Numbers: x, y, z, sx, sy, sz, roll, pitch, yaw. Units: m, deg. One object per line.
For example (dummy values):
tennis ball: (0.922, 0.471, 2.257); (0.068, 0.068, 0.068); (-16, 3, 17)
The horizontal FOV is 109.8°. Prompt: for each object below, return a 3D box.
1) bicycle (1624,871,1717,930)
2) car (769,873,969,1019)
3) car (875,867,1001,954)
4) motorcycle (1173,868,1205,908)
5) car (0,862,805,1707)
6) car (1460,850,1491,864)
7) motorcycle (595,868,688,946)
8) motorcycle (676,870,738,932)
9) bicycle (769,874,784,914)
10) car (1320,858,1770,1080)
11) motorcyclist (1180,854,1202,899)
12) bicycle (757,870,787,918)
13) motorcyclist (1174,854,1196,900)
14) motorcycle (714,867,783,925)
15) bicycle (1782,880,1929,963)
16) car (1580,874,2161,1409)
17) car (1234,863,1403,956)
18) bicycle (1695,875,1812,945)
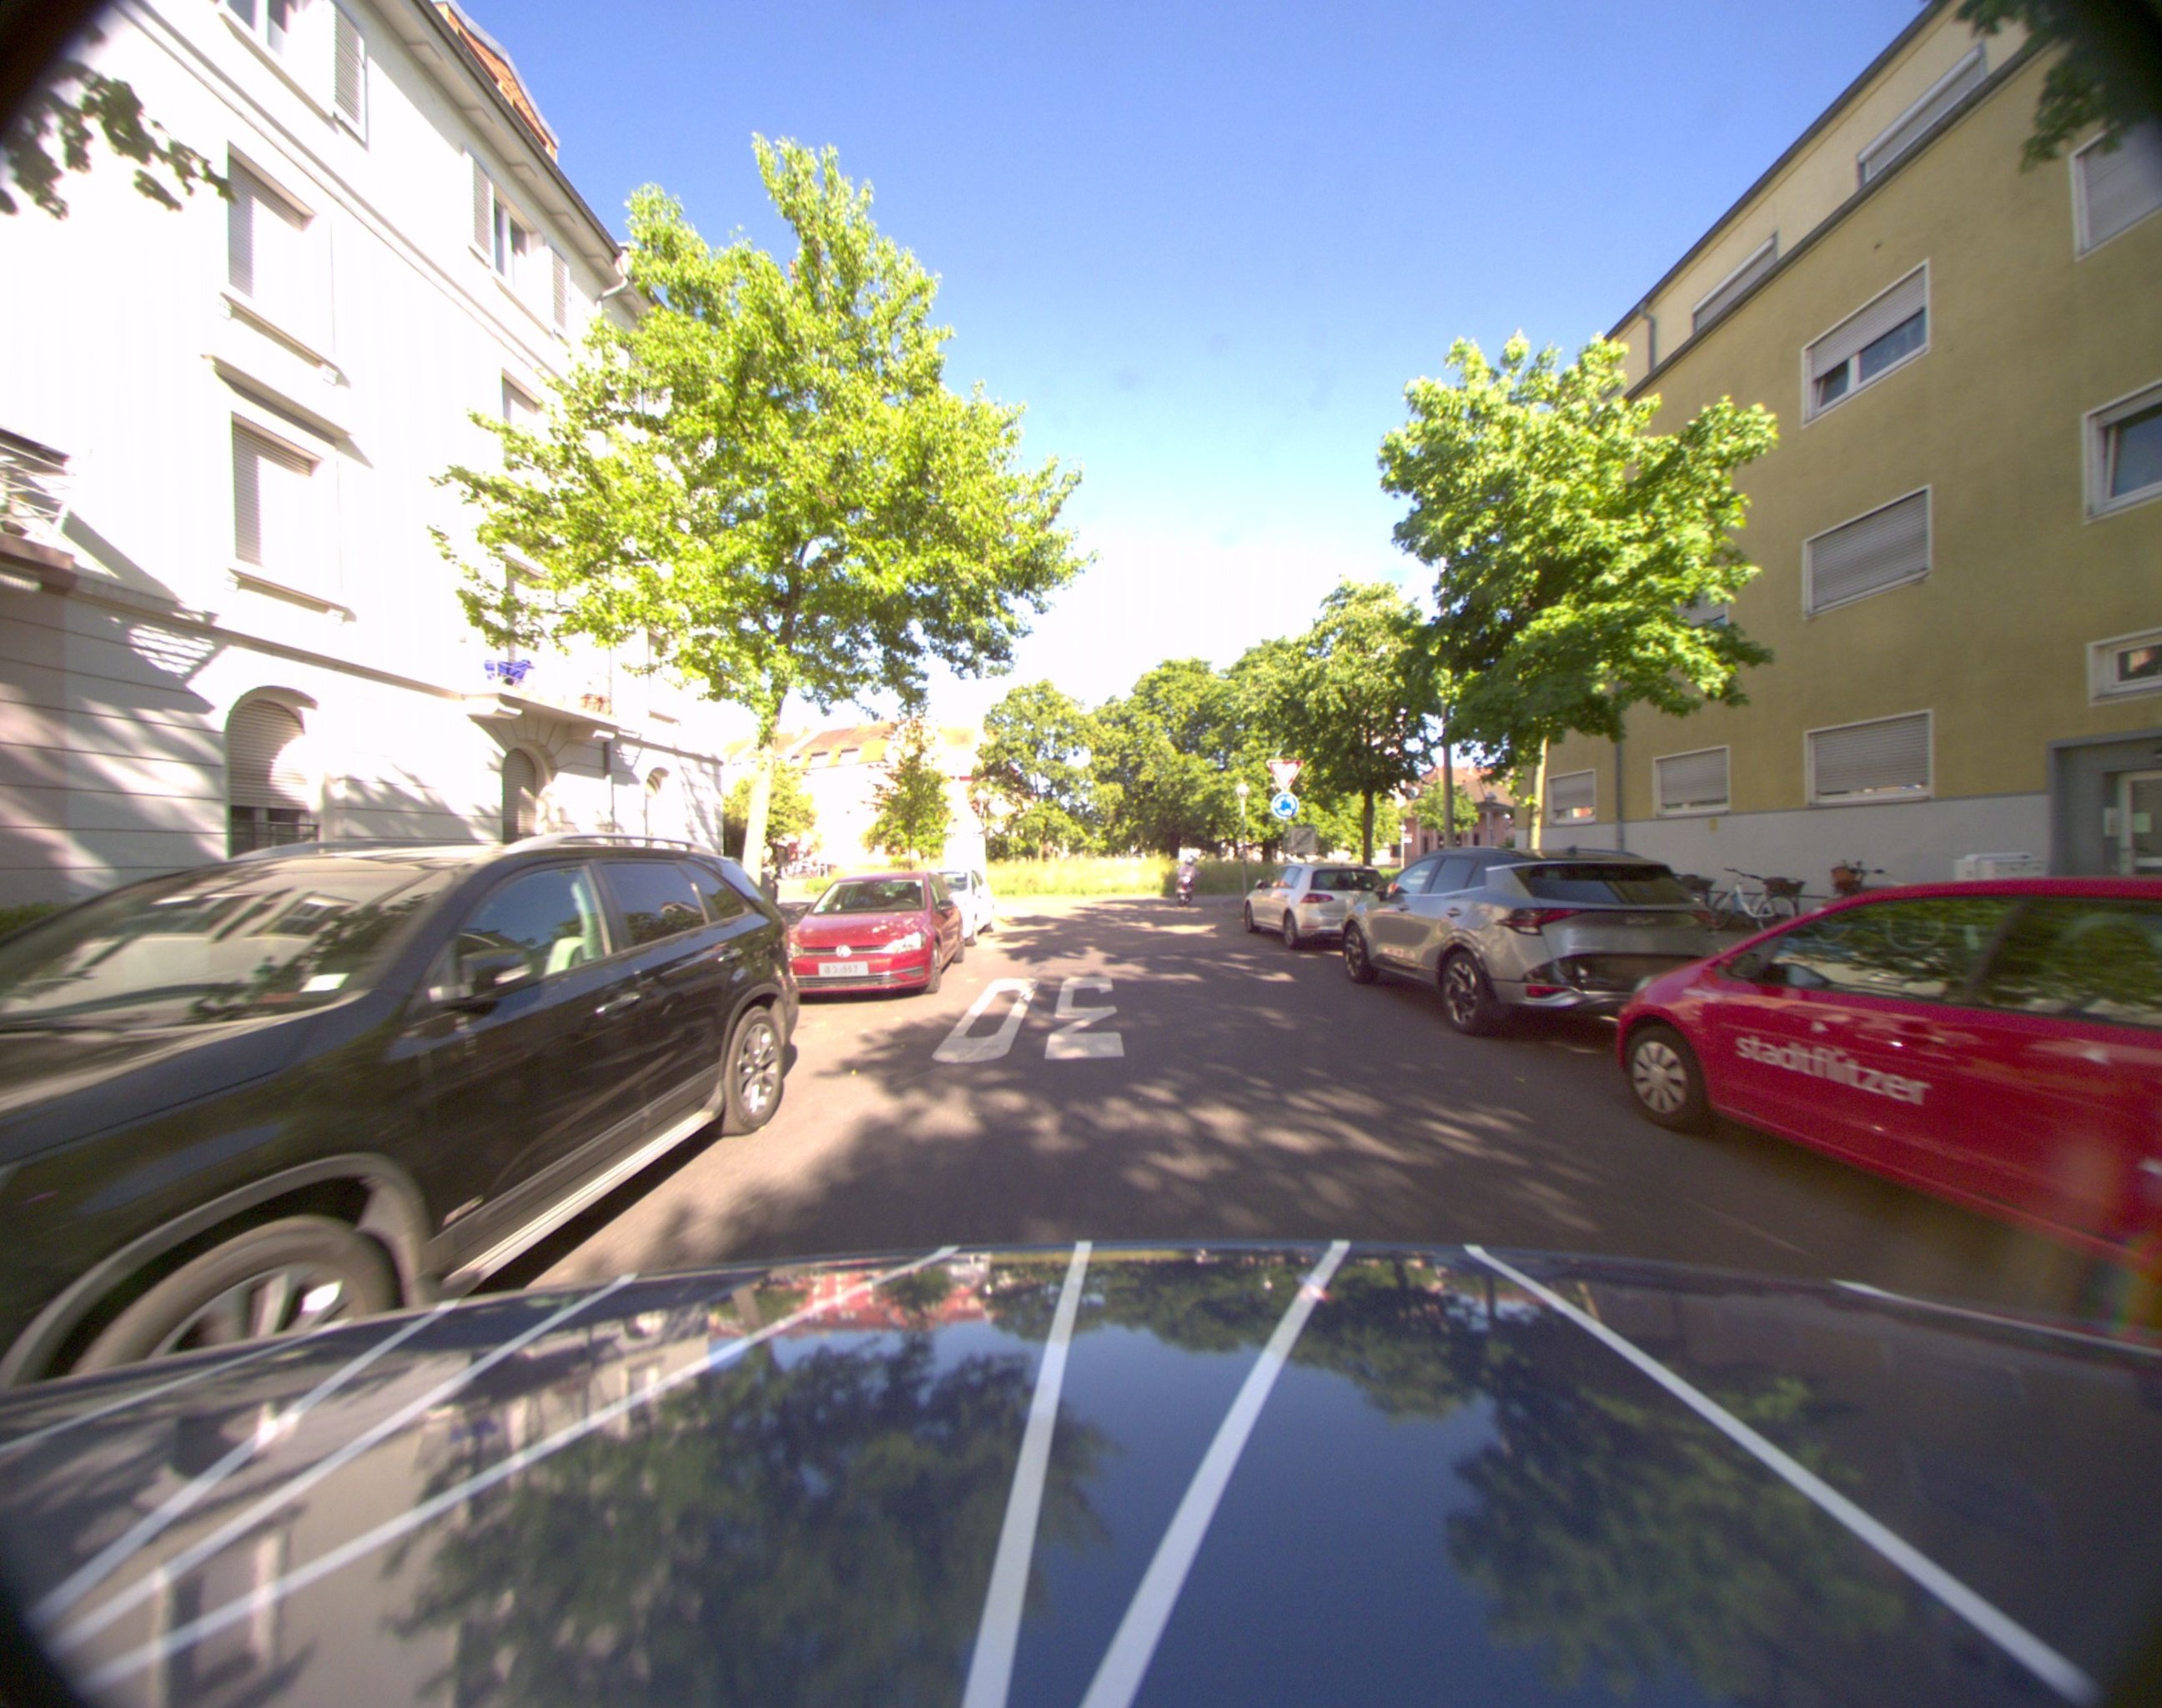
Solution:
bicycle: (10.777, 0.822, 13.962); (0.435, 0.995, 1.682); (-1, 0, 1)
car: (-2.529, 1.008, 10.117); (1.615, 1.401, 4.350); (-1, 0, -3)
car: (-2.641, 0.991, 14.958); (1.657, 1.394, 4.135); (-1, 0, 0)
motorcycle: (3.377, 1.049, 23.759); (0.553, 1.168, 1.635); (-1, 0, 24)
car: (-2.804, 0.900, 3.019); (1.785, 1.688, 4.297); (-1, 0, 1)
car: (35.254, 0.237, 67.993); (1.766, 1.171, 4.005); (-1, 0, 16)
motorcycle: (-8.444, 0.976, 14.706); (0.540, 1.353, 2.089); (-1, 0, 1)
motorcycle: (-8.363, 1.022, 17.067); (0.658, 1.272, 1.799); (1, 0, -6)
bicycle: (-9.078, 1.172, 22.695); (0.352, 1.097, 1.569); (-1, 1, -20)
car: (4.078, 0.837, 7.823); (1.696, 1.555, 4.735); (-1, 0, -1)
motorcyclist: (3.479, 0.711, 23.994); (0.553, 1.394, 0.520); (-1, 1, 23)
bicycle: (-8.584, 1.088, 21.150); (0.326, 1.231, 1.502); (-1, 1, -6)
motorcyclist: (3.213, 0.710, 23.492); (0.544, 1.418, 0.404); (-1, 1, 24)
motorcycle: (-8.246, 1.006, 18.936); (0.973, 1.321, 1.852); (-1, 0, -4)
bicycle: (10.544, 0.884, 10.416); (0.516, 0.995, 1.545); (-1, 0, 4)
car: (4.011, 0.876, 3.240); (1.669, 1.477, 3.256); (-1, 0, 1)
car: (4.234, 0.921, 14.243); (1.765, 1.433, 3.993); (-1, 0, -2)
bicycle: (10.637, 0.857, 12.082); (0.513, 0.995, 1.545); (-1, 0, 1)
